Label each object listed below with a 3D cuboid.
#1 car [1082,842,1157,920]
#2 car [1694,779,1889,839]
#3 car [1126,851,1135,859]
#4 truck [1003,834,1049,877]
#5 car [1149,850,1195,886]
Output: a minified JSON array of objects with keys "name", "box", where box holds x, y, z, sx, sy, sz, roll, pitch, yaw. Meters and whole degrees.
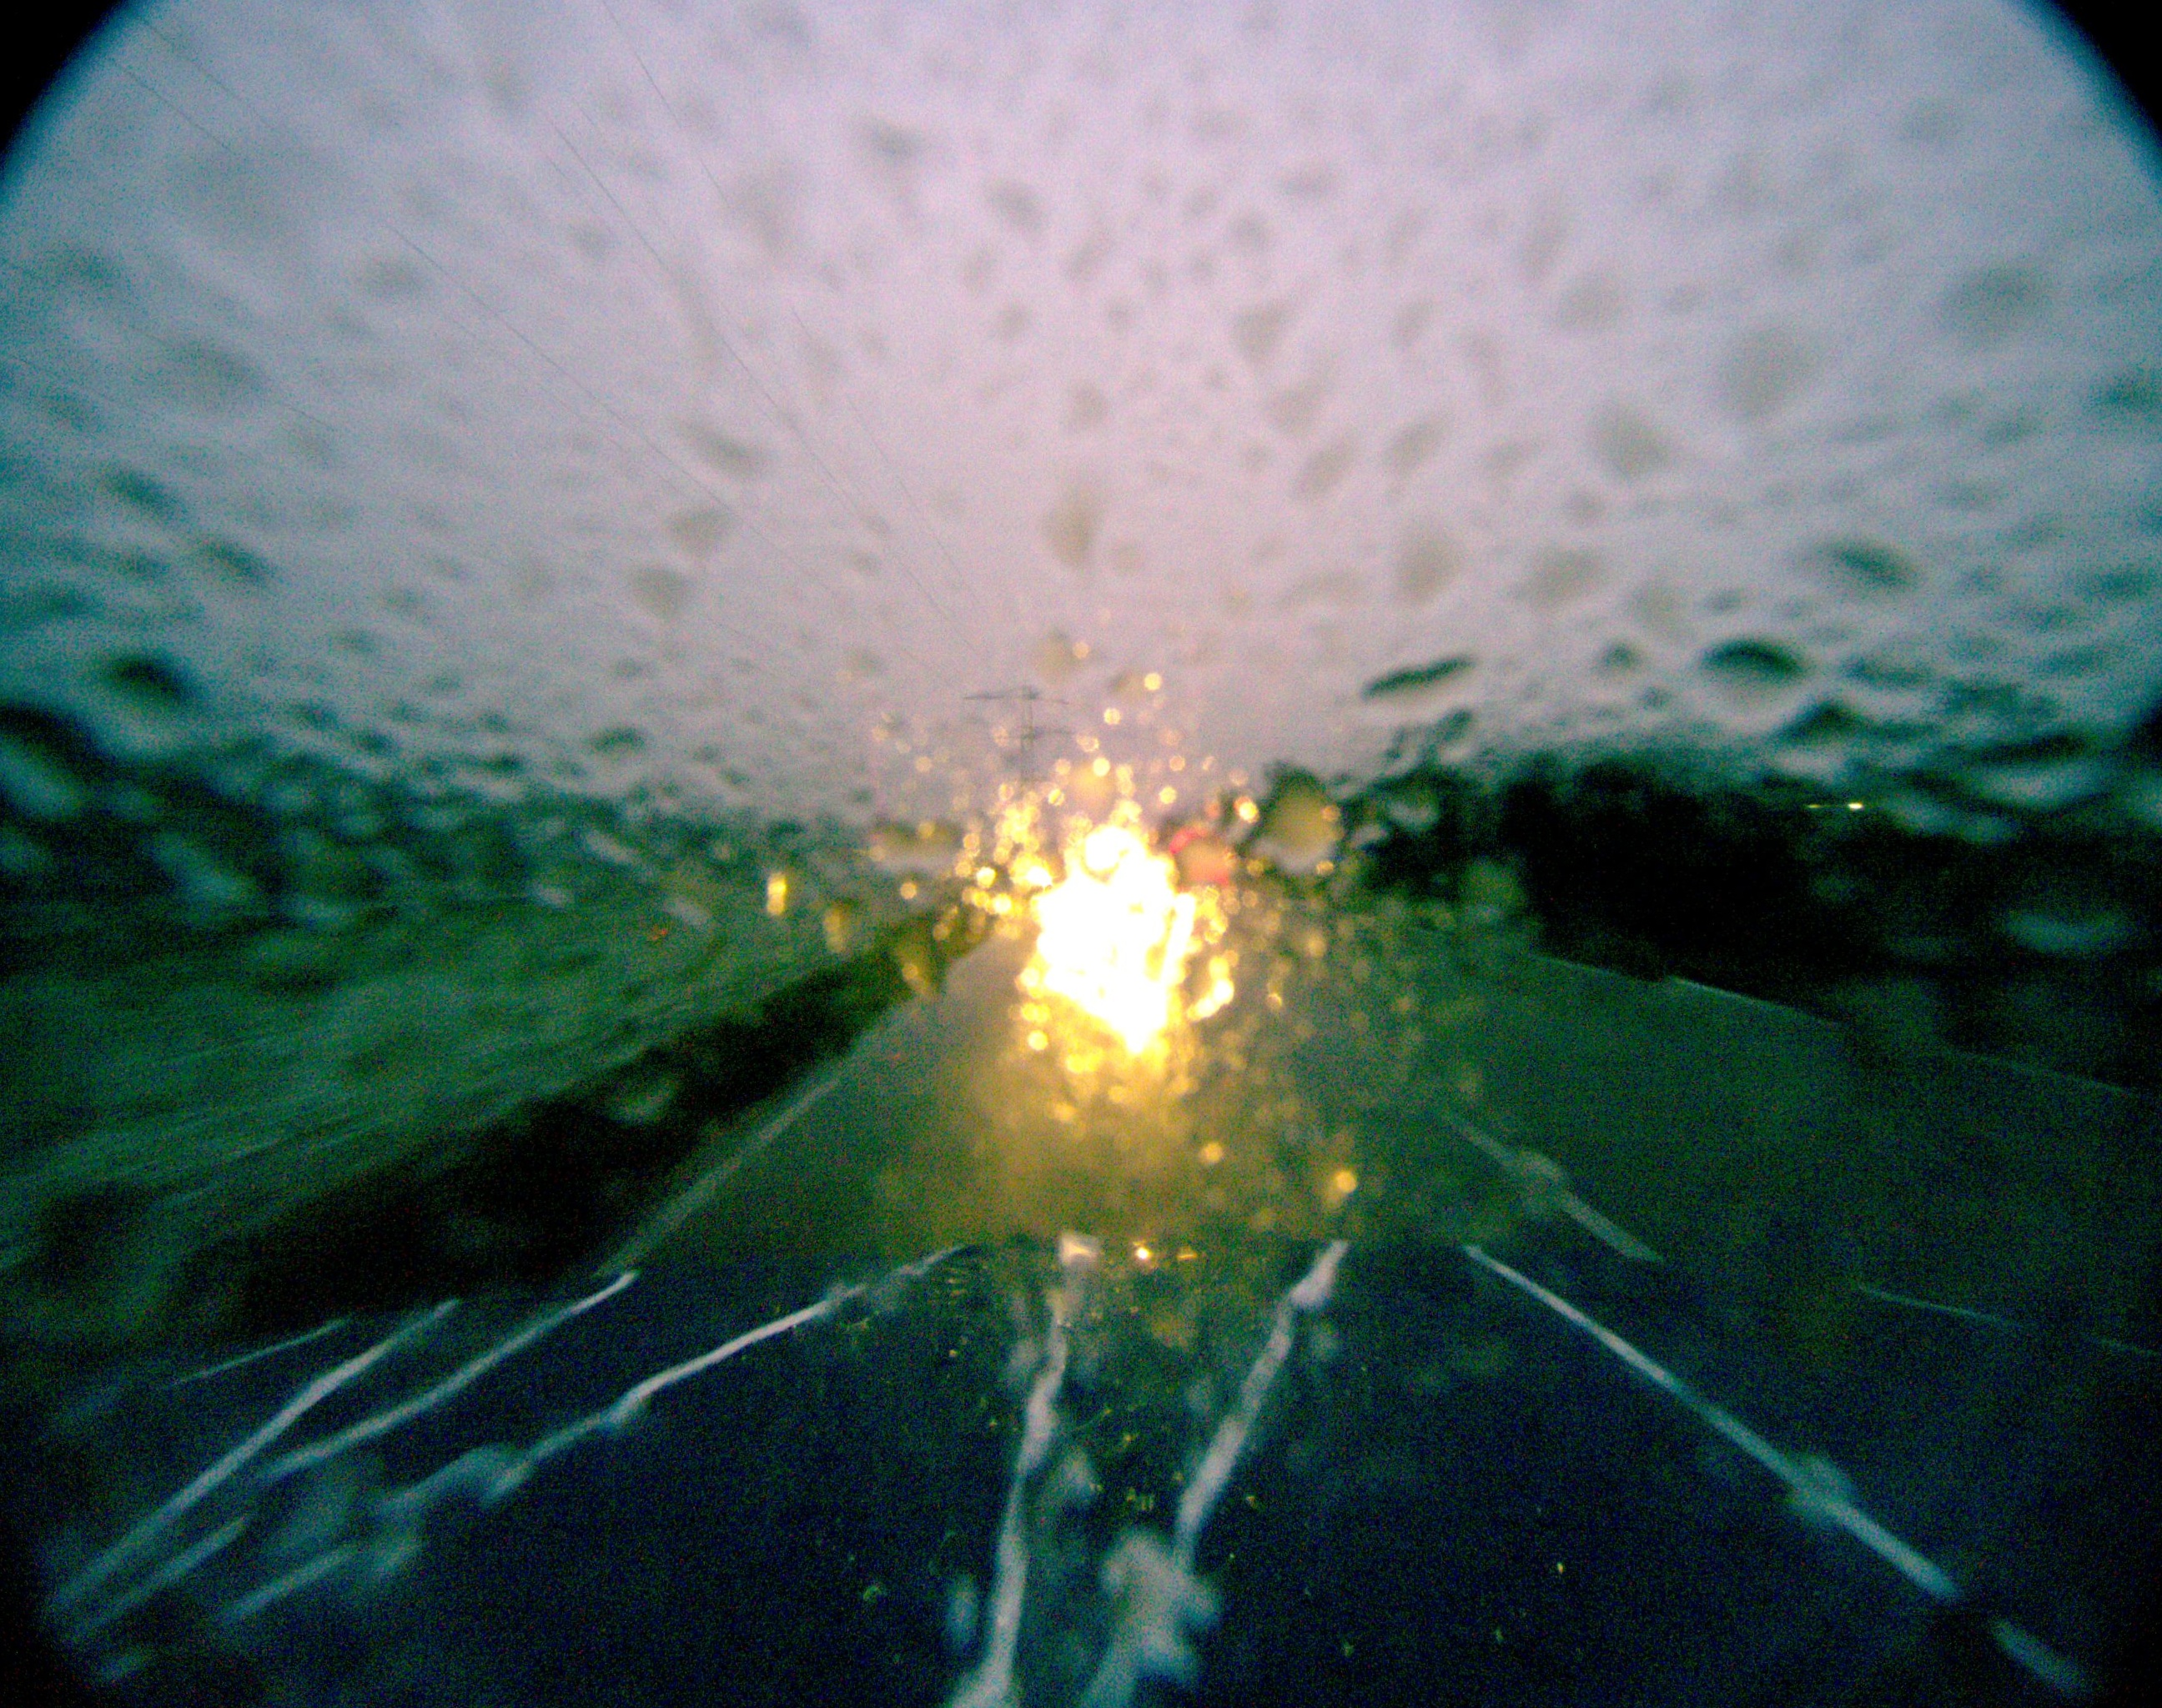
[{"name":"car","box":[1.032,0.693,22.136,1.857,2.002,3.999,-2,1,-1]},{"name":"car","box":[27.449,-1.642,29.723,2.318,2.002,5.602,-2,1,0]},{"name":"car","box":[9.886,0.234,152.481,1.773,1.582,4.164,-2,0,2]},{"name":"truck","box":[-4.058,0.067,57.673,2.540,2.961,7.857,-2,1,2]},{"name":"car","box":[4.401,0.632,37.235,1.790,1.582,4.486,-2,0,1]}]
